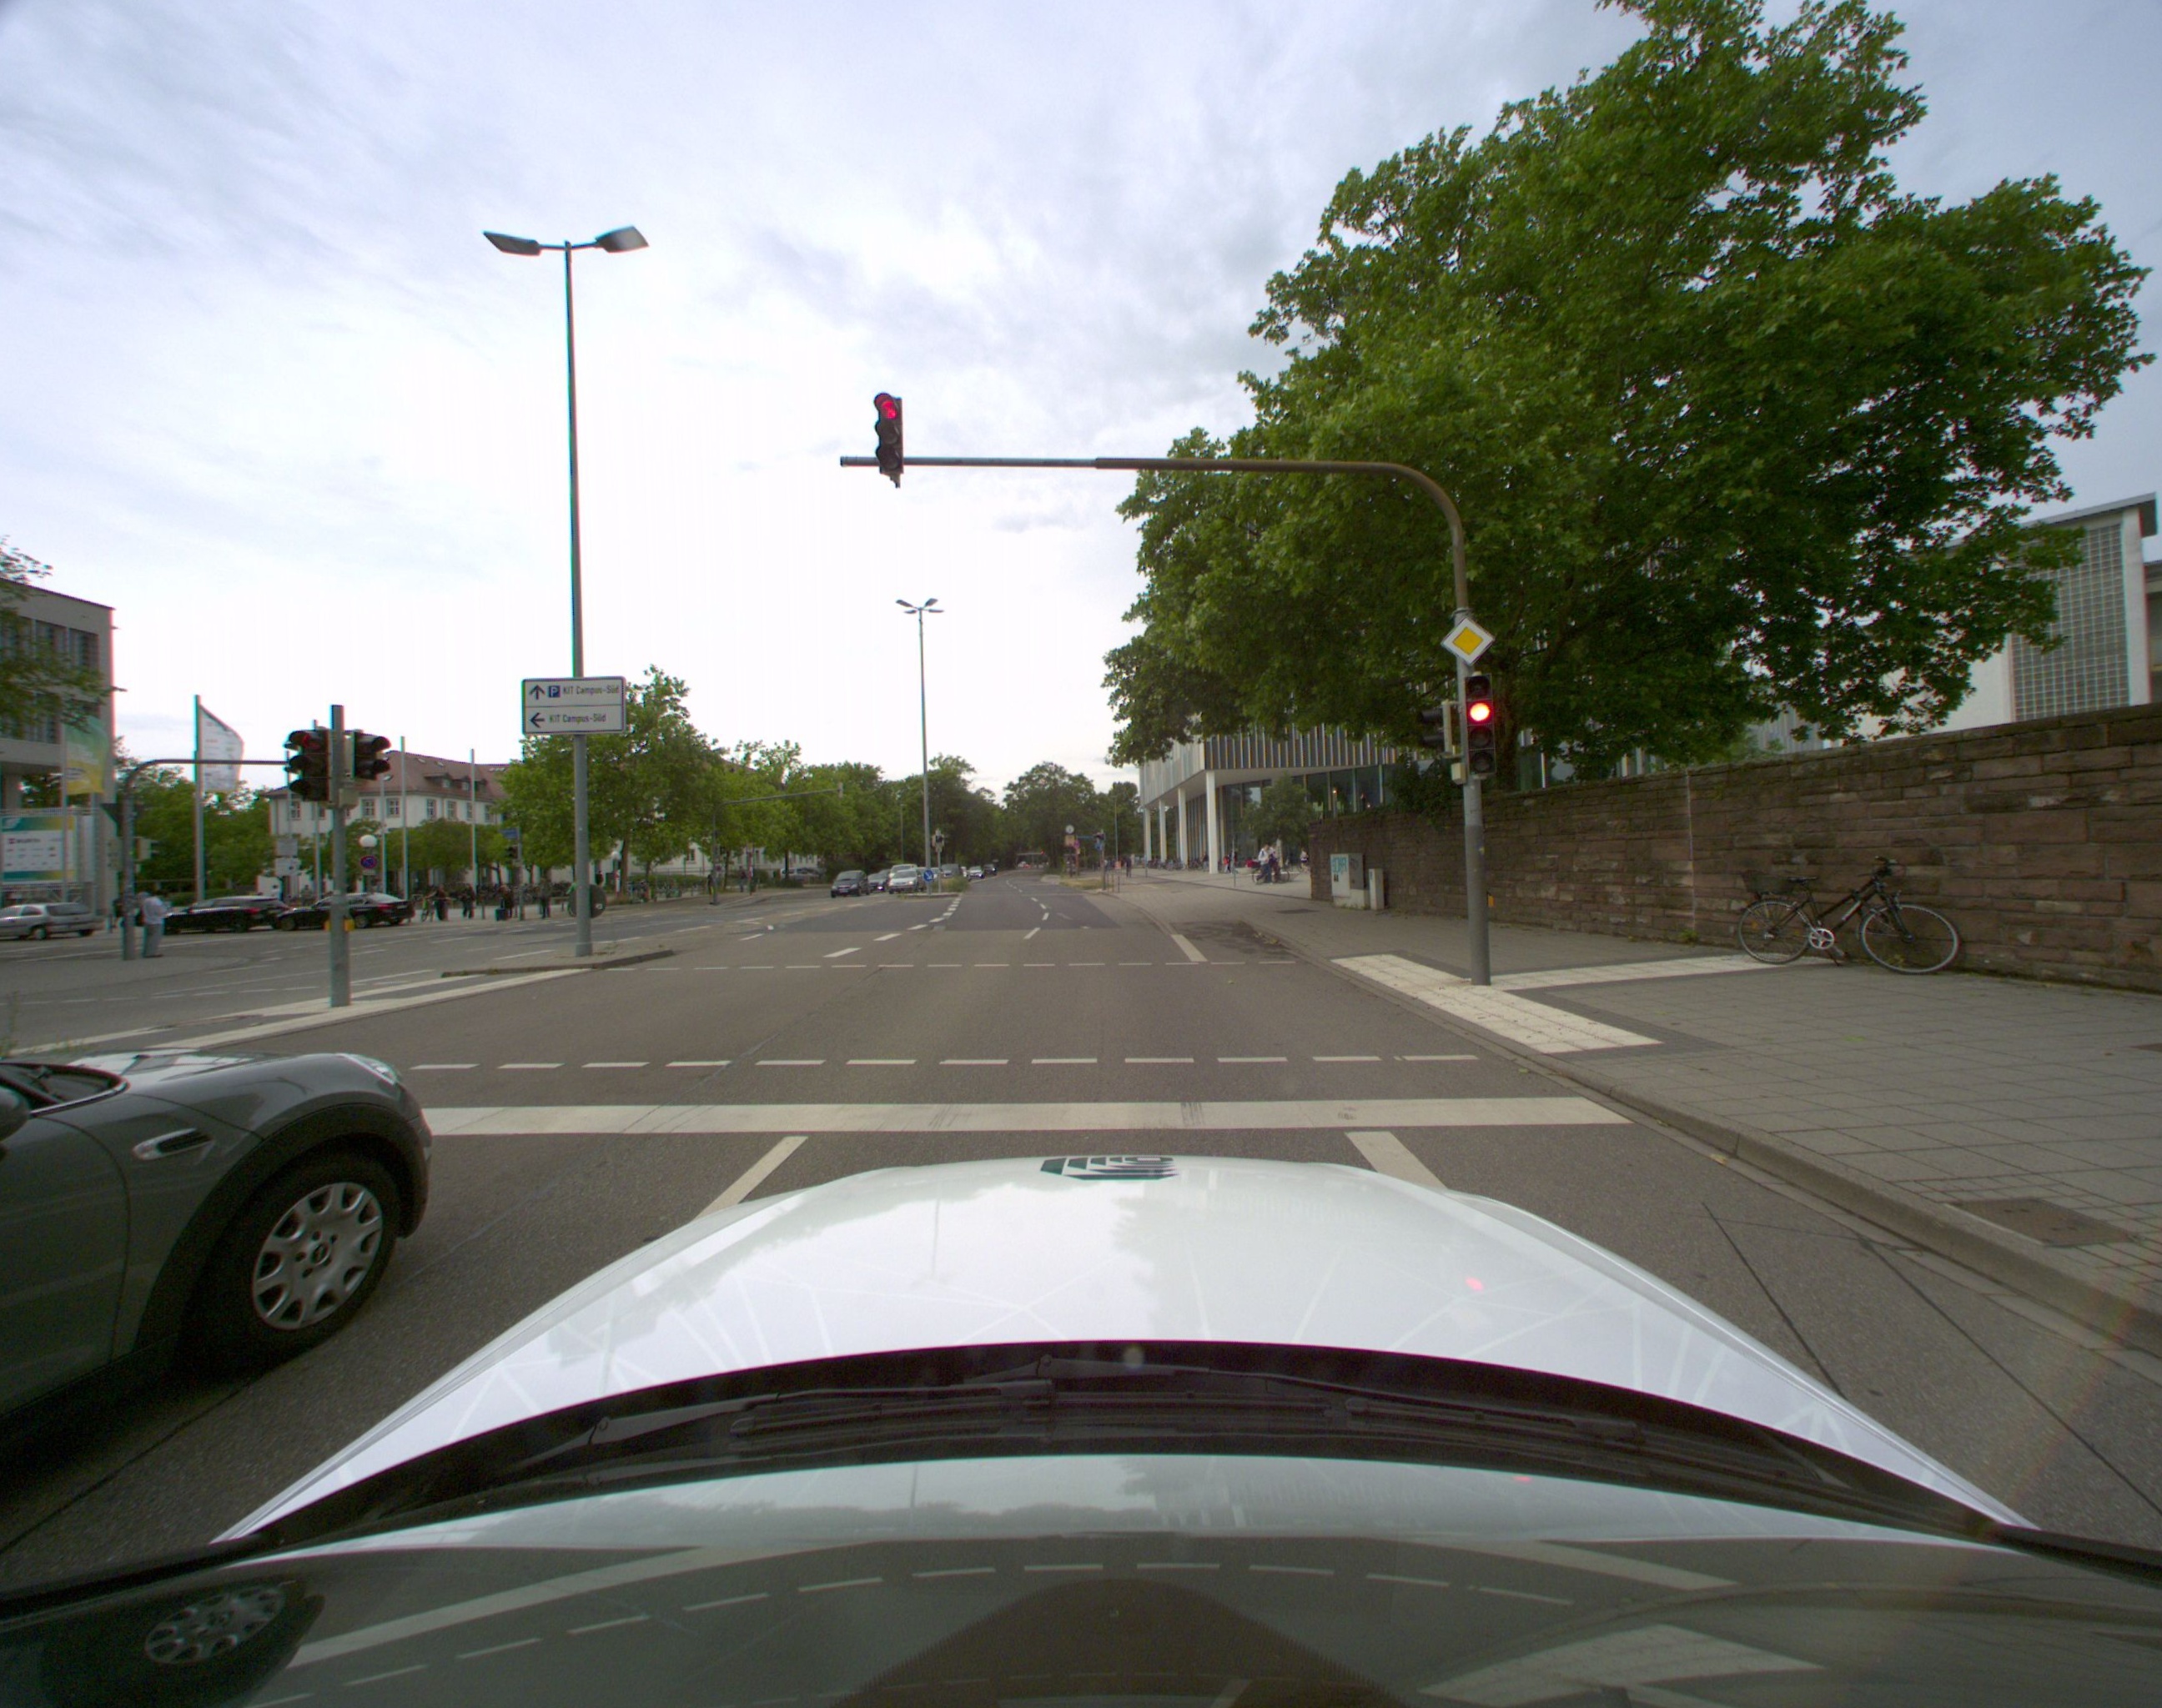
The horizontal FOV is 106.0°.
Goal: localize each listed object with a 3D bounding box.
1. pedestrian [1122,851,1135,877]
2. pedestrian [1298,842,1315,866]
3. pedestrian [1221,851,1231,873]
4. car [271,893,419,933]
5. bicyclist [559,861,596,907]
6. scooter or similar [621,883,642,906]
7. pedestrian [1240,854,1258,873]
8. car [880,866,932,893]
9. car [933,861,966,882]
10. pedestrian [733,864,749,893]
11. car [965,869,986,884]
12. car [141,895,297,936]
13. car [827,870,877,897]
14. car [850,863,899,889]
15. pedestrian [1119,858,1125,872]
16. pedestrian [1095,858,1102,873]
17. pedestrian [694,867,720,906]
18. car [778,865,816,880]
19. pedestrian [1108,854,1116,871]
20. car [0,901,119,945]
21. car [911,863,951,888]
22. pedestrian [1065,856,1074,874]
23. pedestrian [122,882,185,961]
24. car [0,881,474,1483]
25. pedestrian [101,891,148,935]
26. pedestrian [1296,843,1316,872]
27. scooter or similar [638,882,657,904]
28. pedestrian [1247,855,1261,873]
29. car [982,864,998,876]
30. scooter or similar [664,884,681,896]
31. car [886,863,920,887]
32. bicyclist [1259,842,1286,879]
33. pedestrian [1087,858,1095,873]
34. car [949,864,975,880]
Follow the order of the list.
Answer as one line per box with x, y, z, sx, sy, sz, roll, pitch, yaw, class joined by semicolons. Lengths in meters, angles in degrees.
3.793;0.829;65.040;0.840;2.013;0.894;-4;-1;-1;pedestrian
19.681;-0.021;71.077;1.170;2.062;1.142;-1;-1;31;pedestrian
11.167;0.625;62.829;0.671;1.641;0.656;-2;-1;10;pedestrian
-30.369;2.413;33.723;4.136;1.472;1.996;0;-1;-6;car
-22.230;1.305;35.982;1.185;2.014;1.272;0;-1;-22;bicyclist
-23.841;2.143;43.236;0.359;1.140;1.318;-3;-1;-2;scooter or similar
11.165;0.657;54.036;0.834;1.206;0.900;-3;-1;32;pedestrian
-10.810;1.555;50.589;1.984;1.529;4.279;-2;0;4;car
-11.578;1.510;71.788;1.986;1.687;4.948;-1;0;1;car
-23.663;1.701;56.650;0.801;2.014;0.923;0;-1;-9;pedestrian
-12.330;2.619;95.212;1.989;1.547;4.176;-4;-1;-2;car
-35.148;2.479;33.312;3.982;1.472;1.996;0;-1;-6;car
-13.922;1.756;49.658;1.845;1.463;3.698;-2;0;2;car
-14.107;1.458;55.890;1.984;1.619;4.005;-2;0;4;car
5.238;1.407;103.293;0.726;1.684;0.747;0;-1;1;pedestrian
2.377;1.516;111.299;0.823;2.014;0.718;-2;-1;-7;pedestrian
-19.992;1.707;43.543;0.892;2.014;1.008;-2;-1;-4;pedestrian
-30.335;1.988;87.030;3.579;1.602;1.649;0;-1;-5;car
3.929;1.061;102.764;0.923;2.014;1.039;-2;-1;-2;pedestrian
-42.137;2.761;32.881;3.979;1.580;1.997;0;-1;-4;car
-10.757;1.506;58.749;1.950;1.584;4.256;-2;0;1;car
-1.342;1.299;94.982;0.910;2.013;0.853;-4;1;-3;pedestrian
-25.147;1.809;22.091;0.664;2.058;0.852;-2;0;-2;pedestrian
-3.280;0.787;1.371;1.615;1.318;3.707;-2;0;2;car
-45.970;2.803;39.156;1.000;2.014;1.016;-2;-1;-3;pedestrian
14.862;0.246;53.847;0.849;1.836;0.884;-2;-1;-38;pedestrian
-23.867;2.156;44.857;0.359;1.140;1.318;-3;-1;-2;scooter or similar
11.593;0.681;54.653;0.885;1.193;0.848;-2;-1;12;pedestrian
-12.805;2.291;114.914;1.898;1.593;4.512;-3;-1;-2;car
-25.584;2.267;50.986;0.405;0.693;1.289;0;-1;1;scooter or similar
-14.546;1.672;66.631;1.766;1.848;4.487;0;-1;0;car
8.720;0.304;37.086;0.957;1.645;0.740;-1;-1;37;bicyclist
1.408;1.578;111.463;0.924;2.014;1.037;-2;-1;-7;pedestrian
-11.554;1.767;79.346;1.899;1.465;4.906;0;0;-2;car
